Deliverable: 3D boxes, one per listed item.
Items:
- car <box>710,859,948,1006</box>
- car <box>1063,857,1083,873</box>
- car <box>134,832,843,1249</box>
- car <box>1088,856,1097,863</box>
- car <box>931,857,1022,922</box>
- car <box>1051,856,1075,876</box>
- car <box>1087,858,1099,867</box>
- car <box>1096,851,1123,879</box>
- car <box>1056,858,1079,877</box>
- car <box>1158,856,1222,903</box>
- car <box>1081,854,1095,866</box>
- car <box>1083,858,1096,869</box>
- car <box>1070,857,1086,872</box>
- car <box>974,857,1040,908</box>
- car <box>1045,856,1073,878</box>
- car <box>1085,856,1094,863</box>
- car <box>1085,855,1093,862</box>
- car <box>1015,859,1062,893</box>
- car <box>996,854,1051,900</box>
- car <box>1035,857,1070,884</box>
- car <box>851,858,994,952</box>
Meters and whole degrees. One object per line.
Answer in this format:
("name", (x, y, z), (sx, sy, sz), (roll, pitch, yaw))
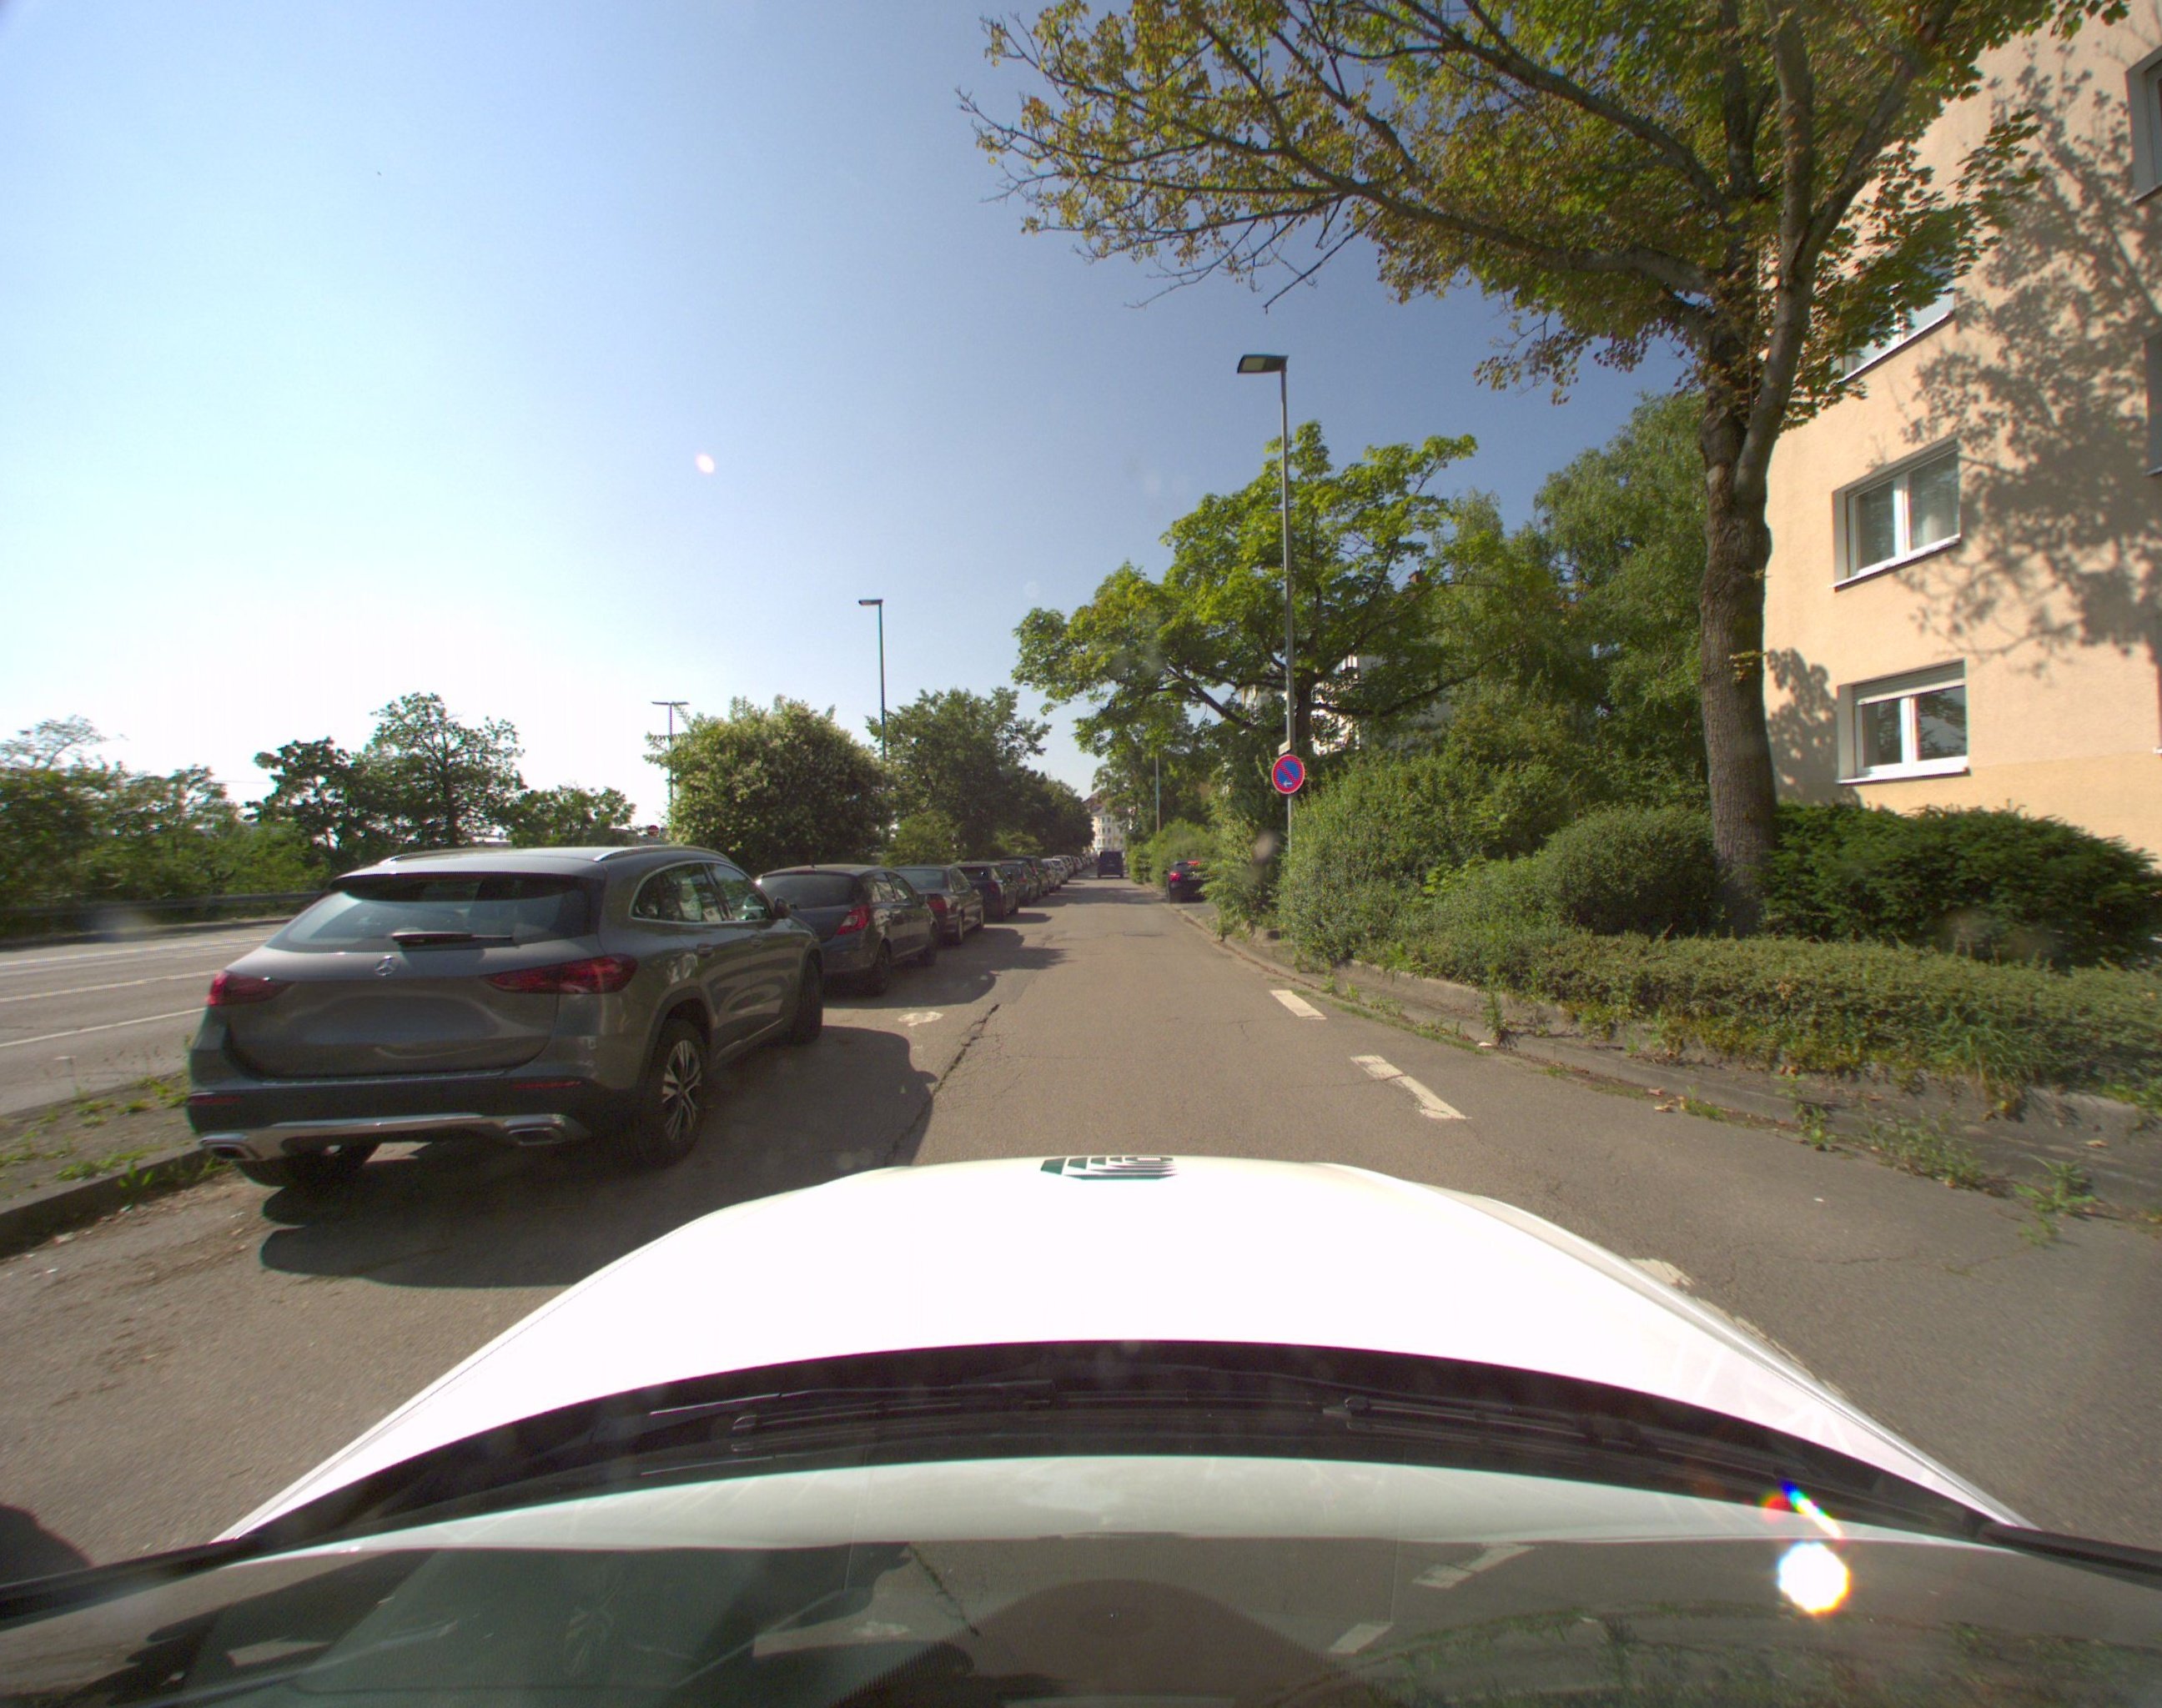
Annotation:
("car", (-2.944, 0.829, 10.417), (1.657, 1.474, 3.878), (-2, 0, 2))
("car", (-0.759, 1.070, 79.652), (1.657, 1.509, 4.010), (1, 0, 2))
("car", (-2.941, 0.724, 5.337), (1.768, 1.579, 4.180), (-1, 0, -4))
("car", (2.722, 1.250, 185.676), (1.986, 1.657, 4.001), (-1, -1, 1))
("car", (-2.569, 0.833, 20.829), (1.657, 1.473, 3.791), (1, 0, 2))
("car", (-1.378, 0.916, 63.504), (1.657, 1.509, 4.010), (1, 0, 2))
("car", (2.152, 1.479, 142.805), (1.986, 1.657, 4.001), (-1, -1, 1))
("car", (2.066, 0.737, 58.609), (1.875, 1.921, 4.010), (1, 0, 2))
("car", (-1.121, 1.126, 68.701), (1.657, 1.509, 4.010), (1, 0, 2))
("car", (3.655, 0.823, 27.881), (1.720, 1.420, 4.001), (-2, -1, 2))
("car", (0.944, 0.812, 107.436), (1.657, 1.509, 4.010), (-2, 0, 2))
("car", (1.364, 1.569, 133.013), (1.986, 1.657, 4.001), (-1, -1, 1))
("car", (-0.303, 1.160, 90.792), (1.657, 1.509, 4.010), (1, 0, 2))
("car", (-2.364, 0.864, 26.767), (1.657, 1.512, 3.791), (1, 0, 2))
("car", (-1.517, 0.893, 57.597), (1.657, 1.509, 4.203), (-2, 0, 2))
("car", (2.053, 1.232, 197.718), (1.986, 1.657, 4.001), (-1, -1, 1))
("car", (2.017, 1.173, 210.786), (1.986, 1.657, 3.741), (-1, -1, 1))
("car", (-1.854, 0.941, 36.607), (1.657, 1.407, 4.322), (1, 0, 2))
("car", (-2.144, 0.833, 31.450), (1.657, 1.583, 3.934), (-1, 0, 2))
("car", (-1.603, 0.923, 47.048), (1.657, 1.468, 4.203), (1, 0, 2))
("car", (-2.877, 0.855, 15.779), (1.657, 1.512, 4.596), (1, 0, 2))
